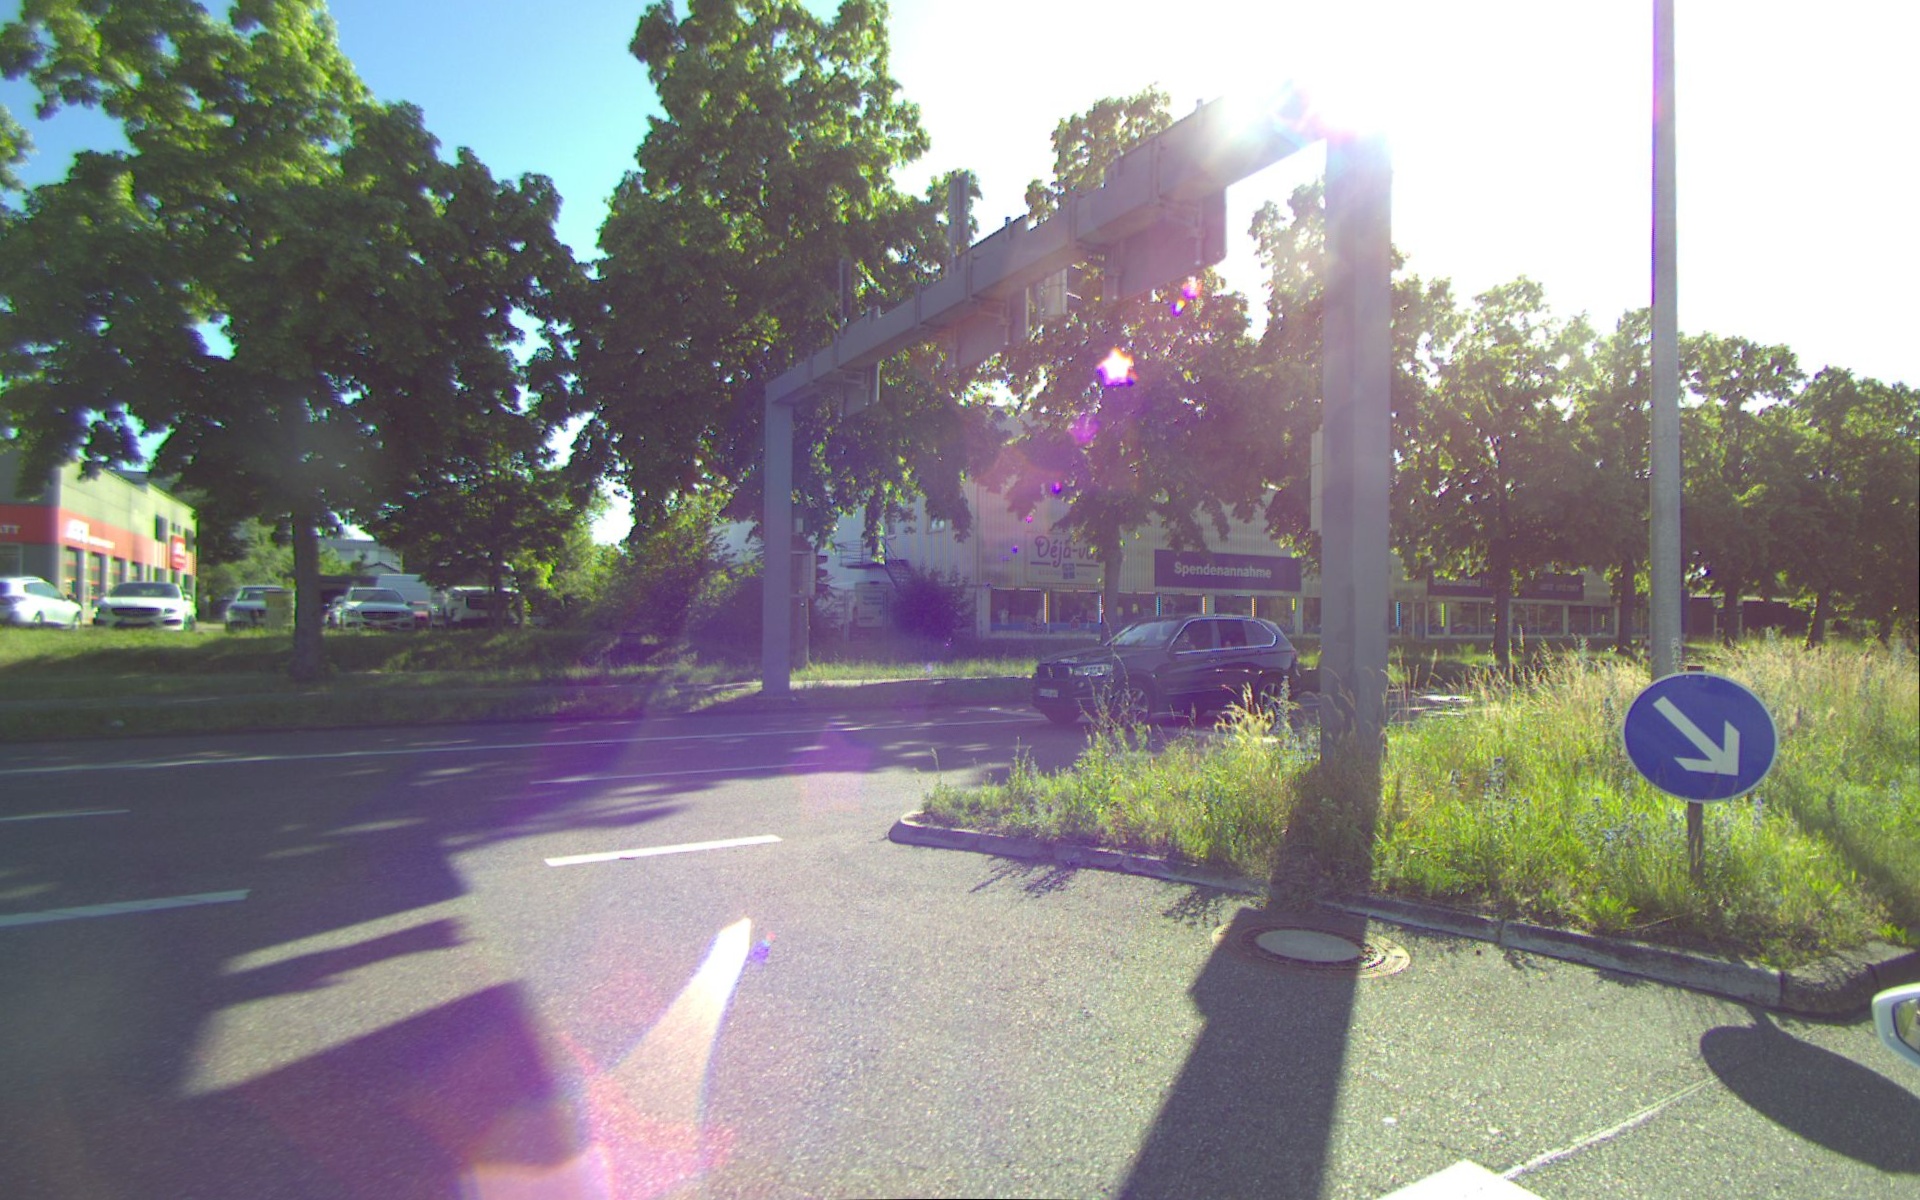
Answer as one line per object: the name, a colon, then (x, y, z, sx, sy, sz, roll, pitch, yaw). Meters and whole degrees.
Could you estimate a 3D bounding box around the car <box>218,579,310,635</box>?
car: (-19.092, 0.224, 27.682, 1.926, 1.407, 4.093, 1, -2, -34)

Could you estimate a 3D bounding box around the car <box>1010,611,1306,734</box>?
car: (3.224, 1.085, 16.106, 4.577, 1.719, 1.932, 1, -3, -31)

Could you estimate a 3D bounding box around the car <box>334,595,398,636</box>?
car: (-22.596, 0.597, 38.316, 1.872, 1.474, 4.102, 1, -1, -28)

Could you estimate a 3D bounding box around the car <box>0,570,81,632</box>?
car: (-23.353, 0.052, 24.515, 1.923, 1.407, 4.598, 1, -1, -30)

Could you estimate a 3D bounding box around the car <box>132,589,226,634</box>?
car: (-27.350, 0.420, 35.309, 1.872, 1.474, 4.102, 1, -1, -28)

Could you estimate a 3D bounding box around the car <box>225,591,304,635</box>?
car: (-25.233, 0.496, 36.582, 1.872, 1.474, 4.102, 1, -1, -28)

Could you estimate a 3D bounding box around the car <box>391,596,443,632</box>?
car: (-23.476, 0.612, 43.521, 1.872, 1.474, 4.102, 1, -1, -28)

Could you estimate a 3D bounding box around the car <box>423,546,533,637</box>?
car: (-14.594, -0.164, 30.199, 2.184, 2.465, 5.842, 1, -1, -34)

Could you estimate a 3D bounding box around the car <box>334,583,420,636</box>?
car: (-17.006, 0.301, 29.229, 1.926, 1.407, 4.093, 1, -2, -34)

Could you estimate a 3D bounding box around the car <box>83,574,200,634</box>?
car: (-20.996, 0.150, 25.935, 1.926, 1.407, 4.093, 1, -2, -34)
